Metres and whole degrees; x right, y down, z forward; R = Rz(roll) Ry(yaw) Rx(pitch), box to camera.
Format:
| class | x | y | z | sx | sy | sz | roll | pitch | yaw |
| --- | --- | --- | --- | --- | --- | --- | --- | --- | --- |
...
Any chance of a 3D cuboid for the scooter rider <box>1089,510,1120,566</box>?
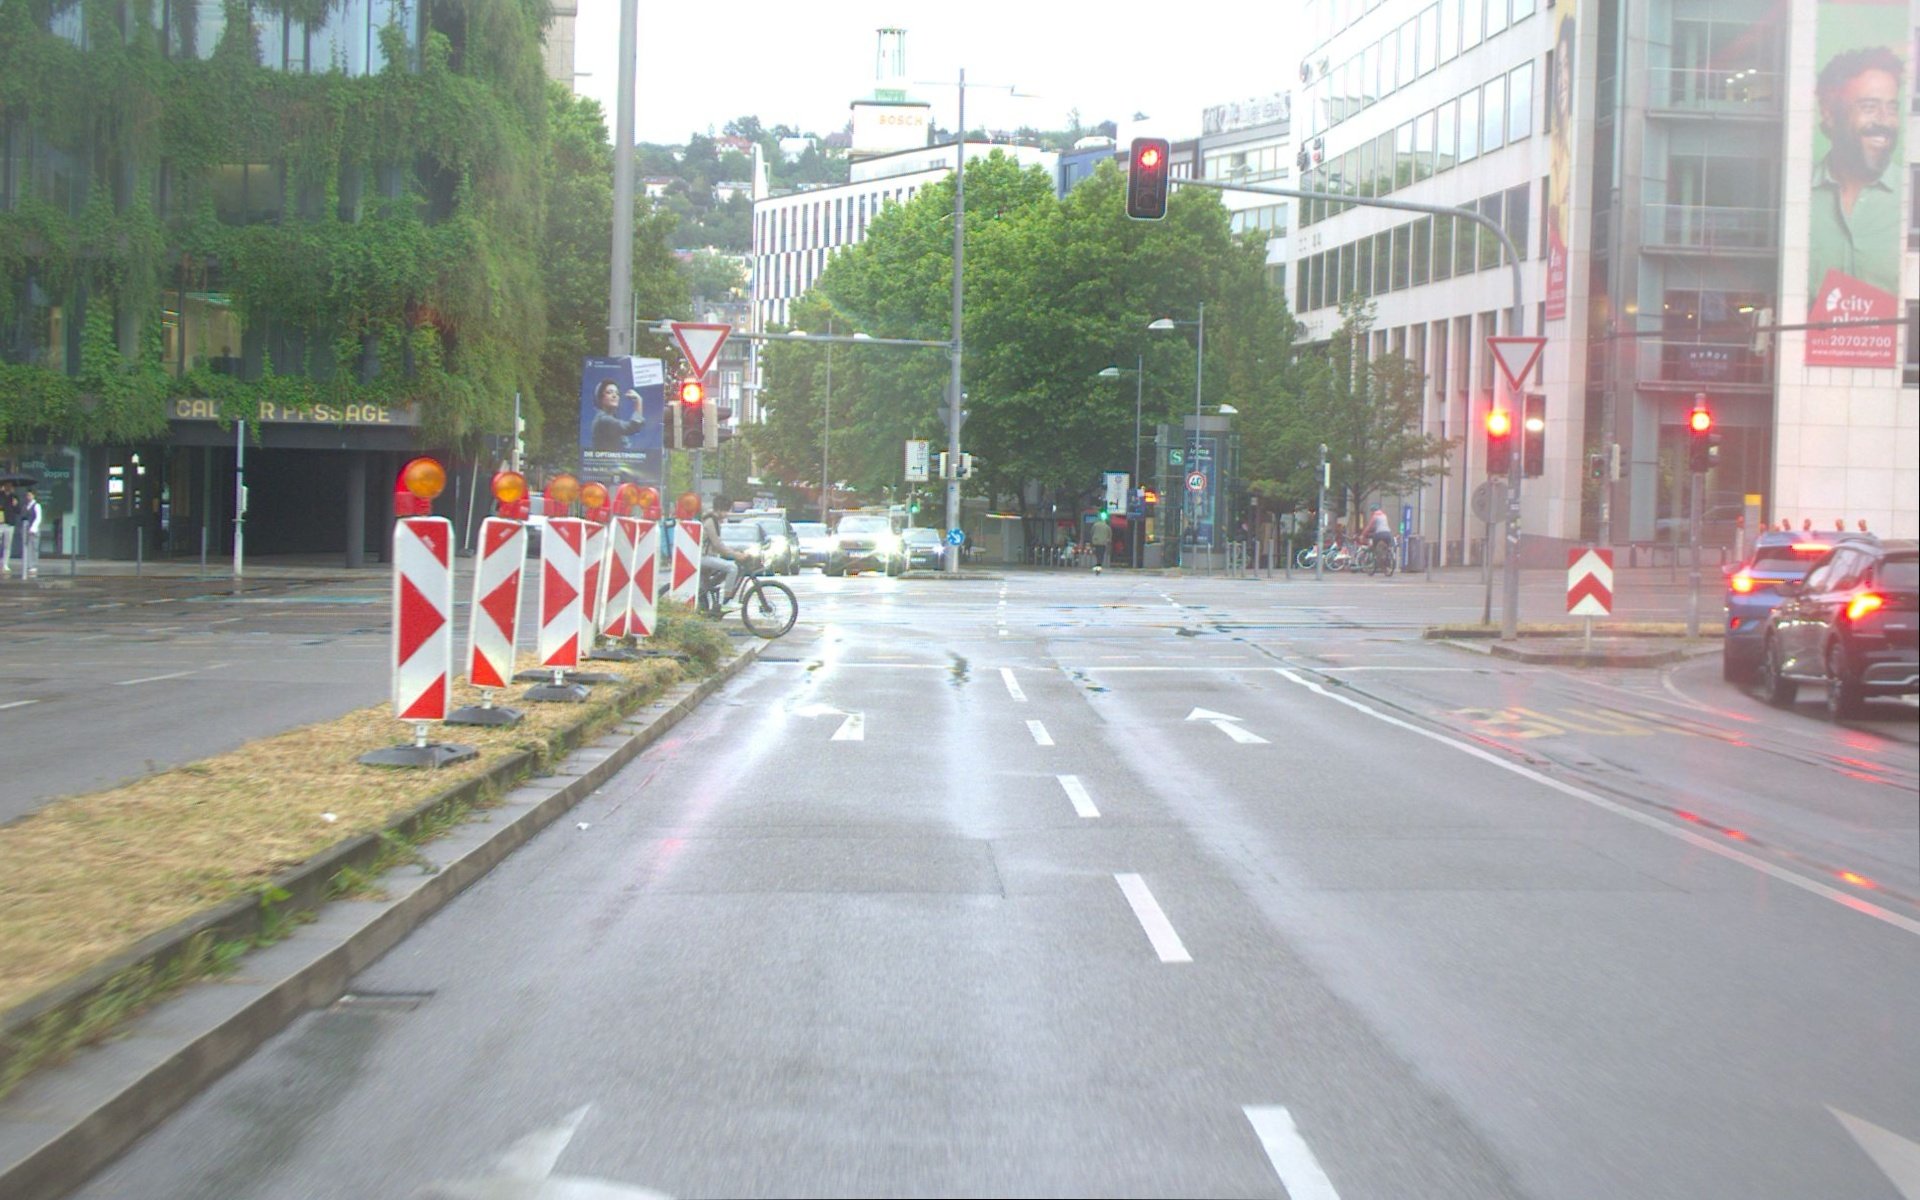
| class | x | y | z | sx | sy | sz | roll | pitch | yaw |
| --- | --- | --- | --- | --- | --- | --- | --- | --- | --- |
| scooter rider | 4.583 | -1.959 | 109.138 | 0.762 | 1.768 | 0.796 | 0 | 1 | -14 |

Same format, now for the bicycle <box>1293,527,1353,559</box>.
| class | x | y | z | sx | sy | sz | roll | pitch | yaw |
| --- | --- | --- | --- | --- | --- | --- | --- | --- | --- |
| bicycle | 11.157 | -1.753 | 105.769 | 1.795 | 0.931 | 0.475 | 1 | 1 | 3 |

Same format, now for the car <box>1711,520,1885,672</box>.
| class | x | y | z | sx | sy | sz | roll | pitch | yaw |
| --- | --- | --- | --- | --- | --- | --- | --- | --- | --- |
| car | 9.126 | -0.095 | 37.257 | 1.704 | 1.524 | 4.424 | 1 | 2 | 15 |

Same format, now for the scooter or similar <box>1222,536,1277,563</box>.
| class | x | y | z | sx | sy | sz | roll | pitch | yaw |
| --- | --- | --- | --- | --- | --- | --- | --- | --- | --- |
| scooter or similar | 9.499 | -1.665 | 112.943 | 1.745 | 0.875 | 0.489 | 0 | 1 | -19 |

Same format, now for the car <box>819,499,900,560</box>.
| class | x | y | z | sx | sy | sz | roll | pitch | yaw |
| --- | --- | --- | --- | --- | --- | --- | --- | --- | --- |
| car | -2.653 | -1.859 | 90.203 | 1.993 | 1.545 | 4.556 | 1 | 2 | -3 |

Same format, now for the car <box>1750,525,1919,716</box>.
| class | x | y | z | sx | sy | sz | roll | pitch | yaw |
| --- | --- | --- | --- | --- | --- | --- | --- | --- | --- |
| car | 8.223 | 0.131 | 30.041 | 1.778 | 1.534 | 4.147 | 1 | 1 | 2 |

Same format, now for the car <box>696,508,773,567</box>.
| class | x | y | z | sx | sy | sz | roll | pitch | yaw |
| --- | --- | --- | --- | --- | --- | --- | --- | --- | --- |
| car | -5.994 | -1.682 | 91.119 | 1.856 | 1.443 | 4.622 | 0 | 2 | -6 |

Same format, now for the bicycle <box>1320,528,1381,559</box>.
| class | x | y | z | sx | sy | sz | roll | pitch | yaw |
| --- | --- | --- | --- | --- | --- | --- | --- | --- | --- |
| bicycle | 11.800 | -1.707 | 103.918 | 1.795 | 0.931 | 0.475 | 1 | 1 | 3 |

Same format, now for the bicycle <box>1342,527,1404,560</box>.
| class | x | y | z | sx | sy | sz | roll | pitch | yaw |
| --- | --- | --- | --- | --- | --- | --- | --- | --- | --- |
| bicycle | 11.875 | -1.630 | 98.844 | 1.799 | 0.931 | 0.474 | 2 | 2 | 41 |

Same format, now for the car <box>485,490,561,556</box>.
| class | x | y | z | sx | sy | sz | roll | pitch | yaw |
| --- | --- | --- | --- | --- | --- | --- | --- | --- | --- |
| car | -12.861 | -2.278 | 101.443 | 1.993 | 1.888 | 4.466 | 1 | 2 | -4 |

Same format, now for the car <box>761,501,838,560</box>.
| class | x | y | z | sx | sy | sz | roll | pitch | yaw |
| --- | --- | --- | --- | --- | --- | --- | --- | --- | --- |
| car | -5.174 | -2.253 | 110.012 | 2.174 | 1.817 | 4.645 | 1 | 2 | -6 |

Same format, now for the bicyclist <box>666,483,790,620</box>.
| class | x | y | z | sx | sy | sz | roll | pitch | yaw |
| --- | --- | --- | --- | --- | --- | --- | --- | --- | --- |
| bicyclist | -2.912 | -0.613 | 43.155 | 1.295 | 1.698 | 0.848 | 0 | 2 | -34 |

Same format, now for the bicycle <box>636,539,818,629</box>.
| class | x | y | z | sx | sy | sz | roll | pitch | yaw |
| --- | --- | --- | --- | --- | --- | --- | --- | --- | --- |
| bicycle | -2.919 | -0.206 | 43.176 | 2.146 | 1.099 | 0.848 | 0 | 2 | -34 |

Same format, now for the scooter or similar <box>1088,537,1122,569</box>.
| class | x | y | z | sx | sy | sz | roll | pitch | yaw |
| --- | --- | --- | --- | --- | --- | --- | --- | --- | --- |
| scooter or similar | 4.596 | -1.496 | 109.072 | 0.556 | 1.003 | 1.824 | 0 | 1 | -14 |

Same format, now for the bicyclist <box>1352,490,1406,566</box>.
| class | x | y | z | sx | sy | sz | roll | pitch | yaw |
| --- | --- | --- | --- | --- | --- | --- | --- | --- | --- |
| bicyclist | 10.986 | -1.879 | 90.167 | 0.791 | 1.968 | 1.114 | 0 | 2 | -41 |

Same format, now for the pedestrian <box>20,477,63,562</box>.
| class | x | y | z | sx | sy | sz | roll | pitch | yaw |
| --- | --- | --- | --- | --- | --- | --- | --- | --- | --- |
| pedestrian | -19.242 | -1.690 | 72.012 | 0.741 | 1.752 | 0.976 | 0 | 2 | -24 |

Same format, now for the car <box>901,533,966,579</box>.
| class | x | y | z | sx | sy | sz | roll | pitch | yaw |
| --- | --- | --- | --- | --- | --- | --- | --- | --- | --- |
| car | -0.946 | -1.534 | 119.135 | 1.993 | 1.438 | 4.557 | 0 | 3 | -3 |

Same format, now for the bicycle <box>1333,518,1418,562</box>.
| class | x | y | z | sx | sy | sz | roll | pitch | yaw |
| --- | --- | --- | --- | --- | --- | --- | --- | --- | --- |
| bicycle | 10.898 | -1.571 | 90.262 | 0.791 | 1.113 | 2.255 | 0 | 2 | -41 |

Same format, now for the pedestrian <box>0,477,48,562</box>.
| class | x | y | z | sx | sy | sz | roll | pitch | yaw |
| --- | --- | --- | --- | --- | --- | --- | --- | --- | --- |
| pedestrian | -19.592 | -1.679 | 71.721 | 0.935 | 1.752 | 1.172 | 0 | 2 | -24 |

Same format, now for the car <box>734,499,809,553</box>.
| class | x | y | z | sx | sy | sz | roll | pitch | yaw |
| --- | --- | --- | --- | --- | --- | --- | --- | --- | --- |
| car | -5.363 | -2.107 | 97.458 | 1.856 | 1.443 | 4.622 | 0 | 2 | -6 |
